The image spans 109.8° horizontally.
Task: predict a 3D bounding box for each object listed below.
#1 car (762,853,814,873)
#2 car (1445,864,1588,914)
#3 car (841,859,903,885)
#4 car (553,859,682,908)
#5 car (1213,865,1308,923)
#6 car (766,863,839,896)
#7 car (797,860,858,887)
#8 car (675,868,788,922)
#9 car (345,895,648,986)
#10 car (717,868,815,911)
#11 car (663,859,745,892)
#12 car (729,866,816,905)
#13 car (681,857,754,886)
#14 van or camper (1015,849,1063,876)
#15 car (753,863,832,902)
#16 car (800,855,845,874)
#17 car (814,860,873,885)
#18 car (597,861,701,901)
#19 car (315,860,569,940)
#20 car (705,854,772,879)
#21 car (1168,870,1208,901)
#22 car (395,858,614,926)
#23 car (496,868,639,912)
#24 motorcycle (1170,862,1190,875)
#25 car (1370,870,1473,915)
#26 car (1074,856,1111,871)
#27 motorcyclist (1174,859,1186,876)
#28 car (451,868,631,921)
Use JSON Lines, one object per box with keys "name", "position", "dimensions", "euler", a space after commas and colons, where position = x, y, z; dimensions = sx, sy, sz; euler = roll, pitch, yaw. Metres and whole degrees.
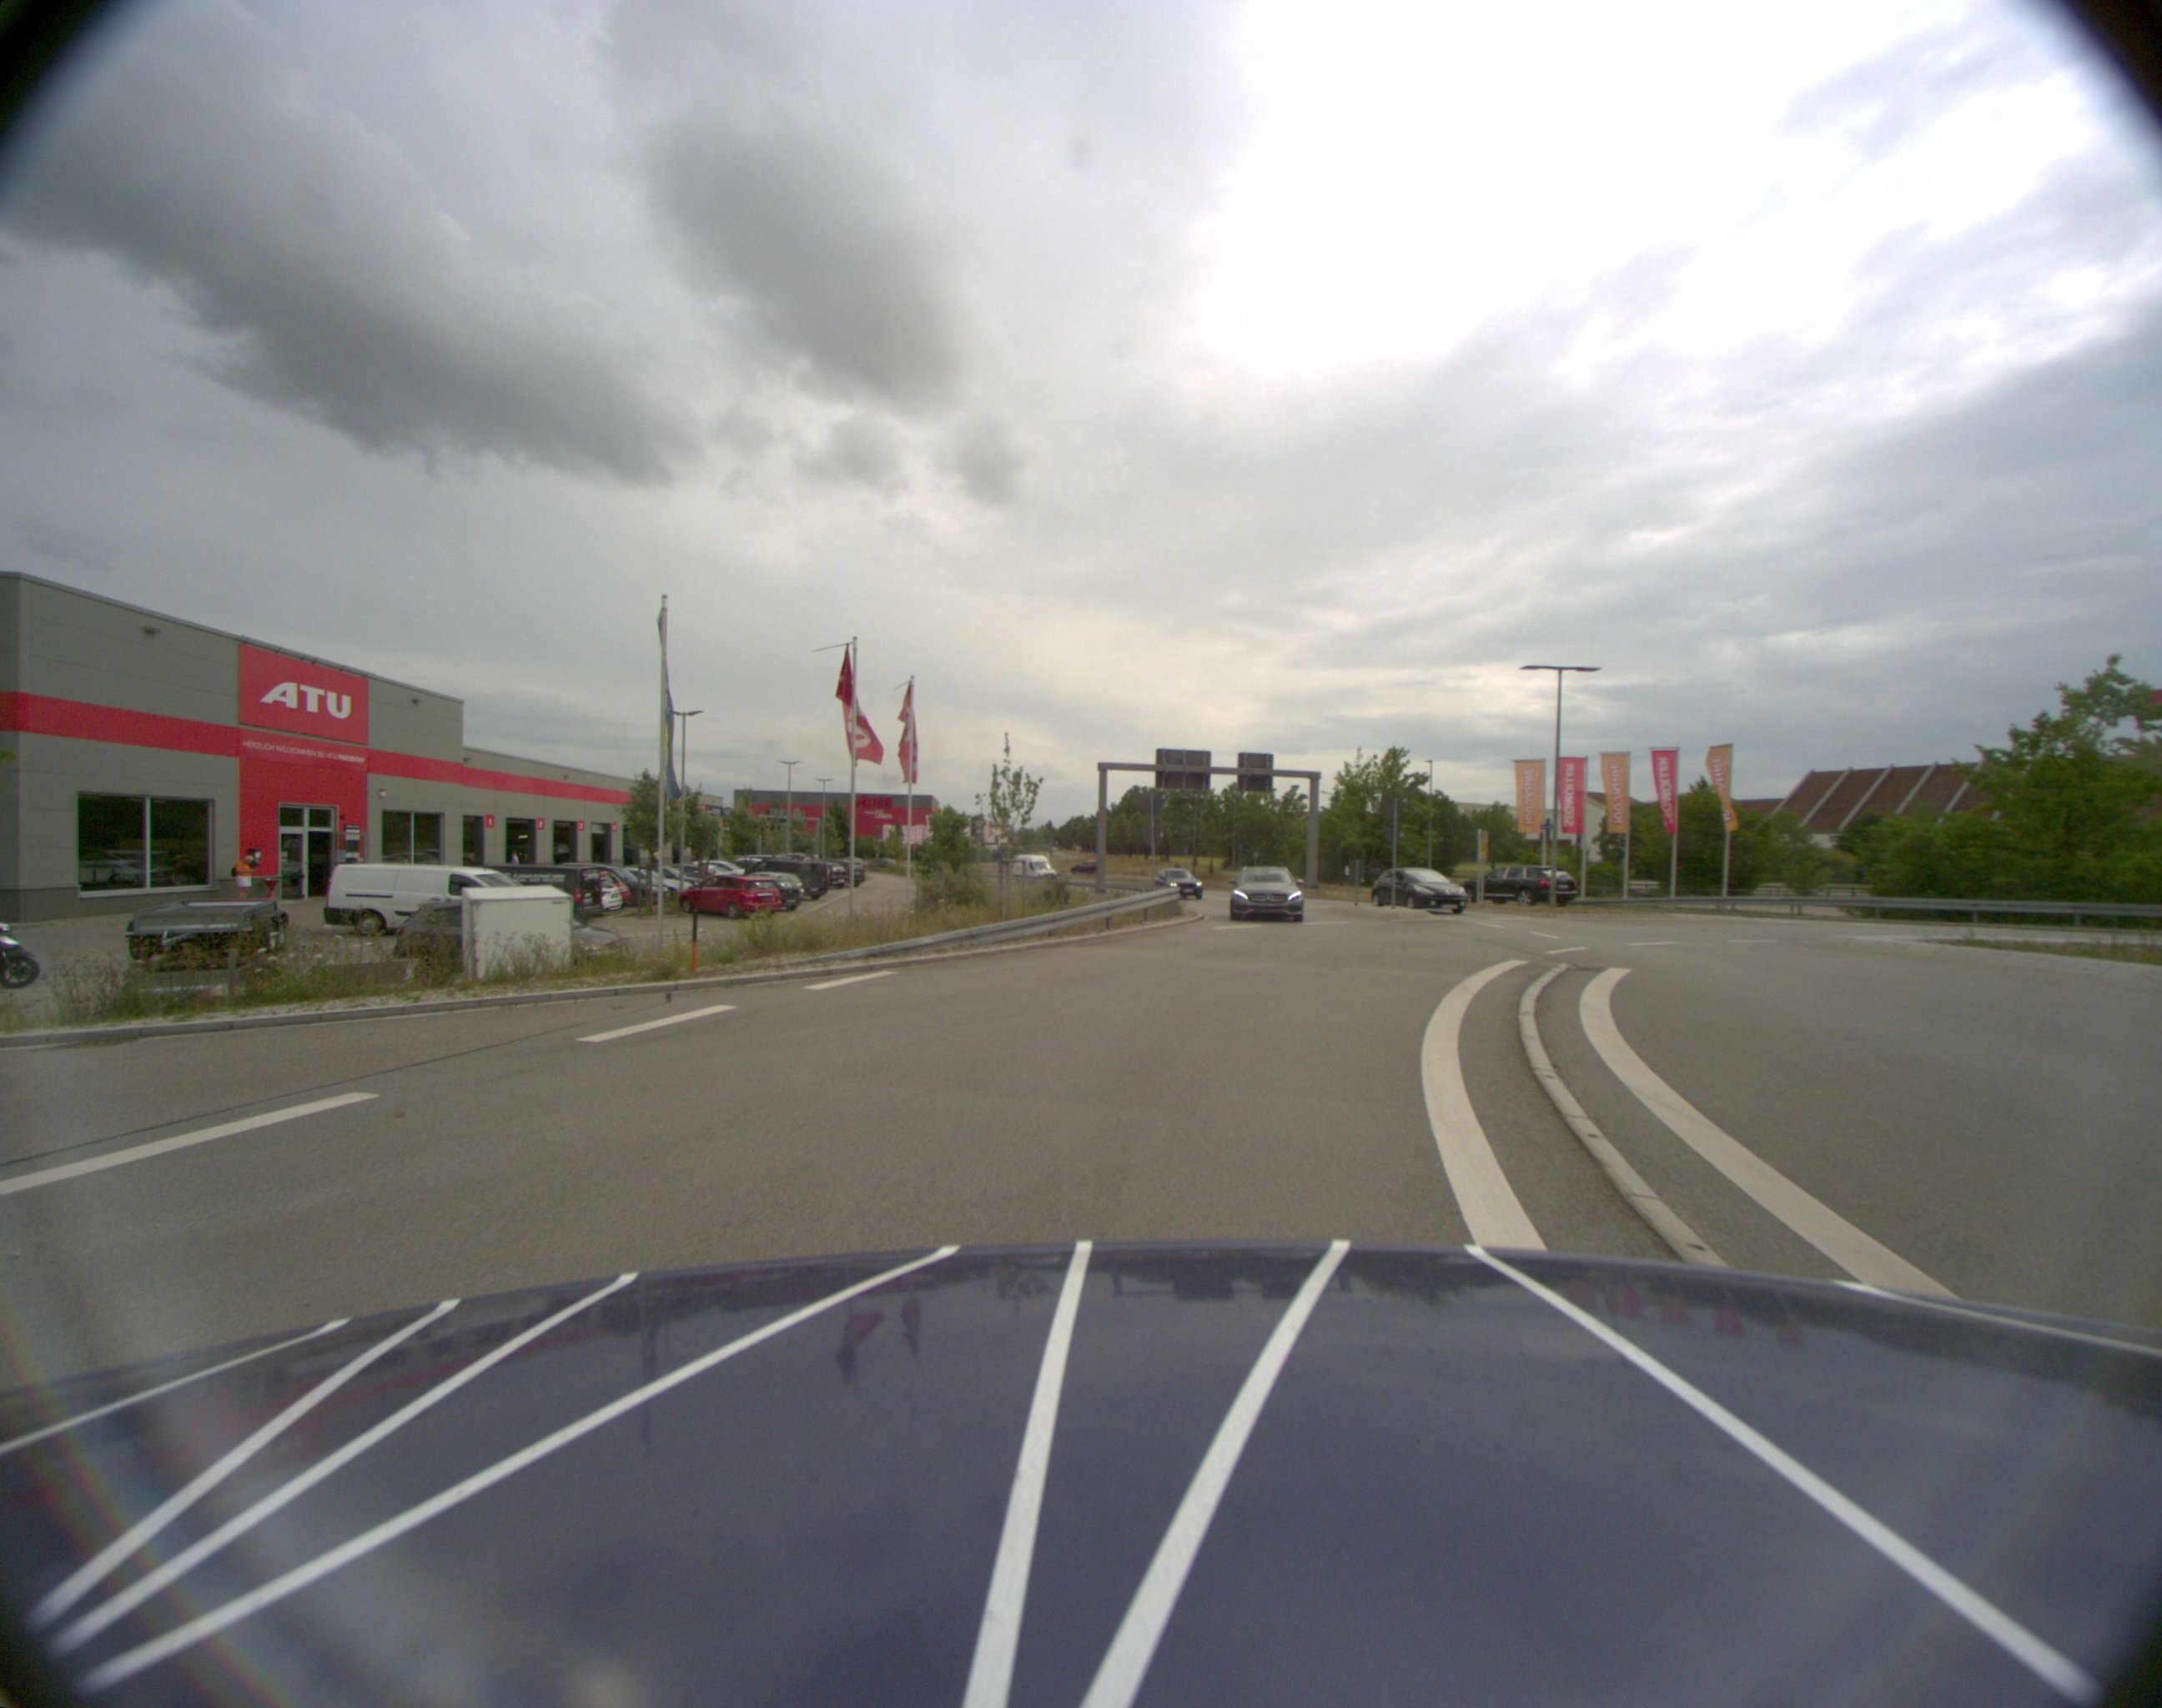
{"name": "car", "position": [-24.112, 0.750, 62.634], "dimensions": [3.700, 1.536, 1.589], "euler": [-1, 1, -12]}
{"name": "car", "position": [18.089, 1.386, 31.884], "dimensions": [2.107, 1.780, 5.042], "euler": [-1, 1, -21]}
{"name": "car", "position": [-14.457, 1.223, 52.462], "dimensions": [4.065, 1.612, 1.833], "euler": [3, 0, 33]}
{"name": "car", "position": [-18.965, 1.165, 31.259], "dimensions": [4.203, 1.826, 1.589], "euler": [-1, 1, -12]}
{"name": "car", "position": [4.750, 1.084, 20.691], "dimensions": [1.764, 1.411, 4.094], "euler": [-1, -3, 3]}
{"name": "car", "position": [-15.498, 1.369, 42.186], "dimensions": [4.065, 1.701, 1.910], "euler": [1, 0, 38]}
{"name": "car", "position": [-16.076, 1.213, 48.066], "dimensions": [4.065, 1.612, 1.654], "euler": [-1, -1, 38]}
{"name": "car", "position": [-13.393, 1.504, 29.119], "dimensions": [4.065, 1.571, 1.774], "euler": [5, 4, 27]}
{"name": "car", "position": [-12.408, 1.795, 16.507], "dimensions": [4.837, 1.666, 1.963], "euler": [1, 1, -12]}
{"name": "car", "position": [-13.472, 1.467, 32.443], "dimensions": [4.065, 1.570, 1.775], "euler": [2, 0, 32]}
{"name": "car", "position": [-20.464, 1.143, 41.376], "dimensions": [3.700, 1.629, 1.589], "euler": [-1, 1, -12]}
{"name": "car", "position": [-14.522, 1.429, 35.722], "dimensions": [4.064, 1.570, 1.775], "euler": [3, 1, 34]}
{"name": "car", "position": [-22.044, 1.060, 46.208], "dimensions": [3.700, 1.629, 1.589], "euler": [-1, 1, -12]}
{"name": "van or camper", "position": [-3.973, 0.730, 70.847], "dimensions": [2.057, 2.351, 5.527], "euler": [-1, 2, -31]}
{"name": "car", "position": [-14.695, 1.437, 38.651], "dimensions": [4.066, 1.896, 1.910], "euler": [-2, -2, 37]}
{"name": "car", "position": [-23.506, 0.941, 69.184], "dimensions": [3.700, 1.536, 1.589], "euler": [-1, 1, -12]}
{"name": "car", "position": [-15.951, 1.252, 50.985], "dimensions": [4.065, 1.612, 1.741], "euler": [-1, -2, 38]}
{"name": "car", "position": [-19.236, 1.180, 33.955], "dimensions": [3.700, 1.629, 1.589], "euler": [-1, 1, -12]}
{"name": "car", "position": [-17.602, 1.232, 21.225], "dimensions": [5.080, 2.035, 1.998], "euler": [1, 1, -12]}
{"name": "car", "position": [-22.566, 0.790, 50.155], "dimensions": [3.700, 1.536, 1.589], "euler": [-1, 1, -12]}
{"name": "car", "position": [5.697, 1.669, 41.031], "dimensions": [1.859, 1.404, 4.558], "euler": [0, 1, 5]}
{"name": "car", "position": [-17.976, 1.183, 23.970], "dimensions": [5.081, 1.961, 1.998], "euler": [2, 0, -12]}
{"name": "car", "position": [-19.598, 1.343, 29.155], "dimensions": [4.203, 1.491, 1.589], "euler": [-1, 1, -12]}
{"name": "motorcycle", "position": [8.856, 1.303, 68.002], "dimensions": [0.704, 1.222, 2.245], "euler": [1, -1, -21]}
{"name": "car", "position": [11.269, 1.228, 25.430], "dimensions": [1.580, 1.346, 3.823], "euler": [0, 0, -3]}
{"name": "car", "position": [1.285, 1.038, 84.445], "dimensions": [1.896, 1.458, 4.270], "euler": [-4, 2, -35]}
{"name": "motorcyclist", "position": [8.862, 1.211, 68.033], "dimensions": [0.675, 1.566, 0.845], "euler": [1, -1, -21]}
{"name": "car", "position": [-18.505, 1.379, 26.270], "dimensions": [4.677, 1.632, 1.913], "euler": [2, 0, -12]}
